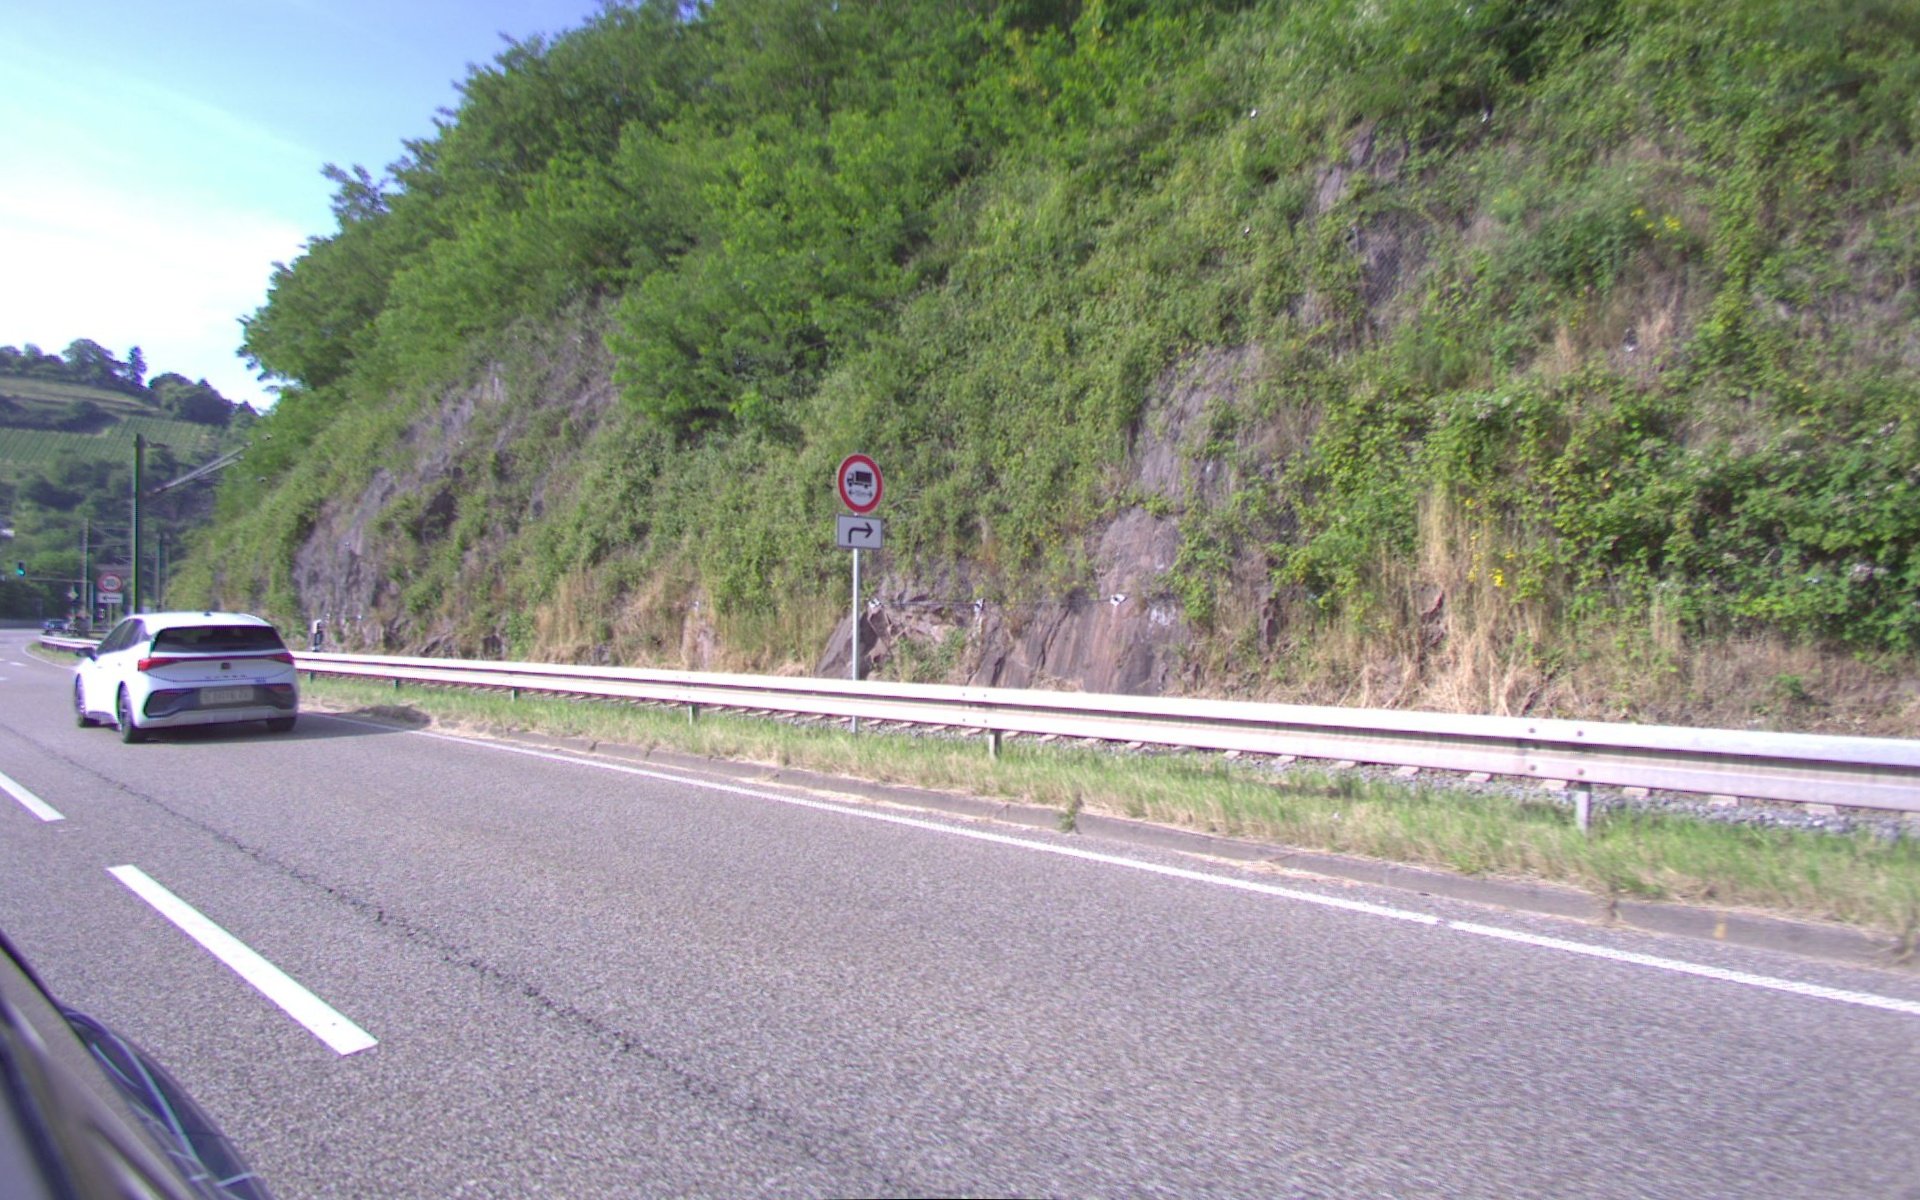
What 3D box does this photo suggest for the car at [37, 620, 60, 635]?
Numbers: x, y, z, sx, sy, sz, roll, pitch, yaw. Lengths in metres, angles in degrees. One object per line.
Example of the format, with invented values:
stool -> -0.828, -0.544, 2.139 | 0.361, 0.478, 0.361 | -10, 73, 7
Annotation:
car -> -104.907, 3.154, 116.515 | 1.696, 1.582, 4.143 | 0, 0, -39

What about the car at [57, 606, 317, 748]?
car -> -10.365, 0.900, 13.435 | 4.600, 1.556, 1.828 | -1, -1, 40

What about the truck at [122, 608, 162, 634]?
truck -> -124.565, 3.311, 154.260 | 2.856, 3.828, 8.922 | 2, -3, -27
